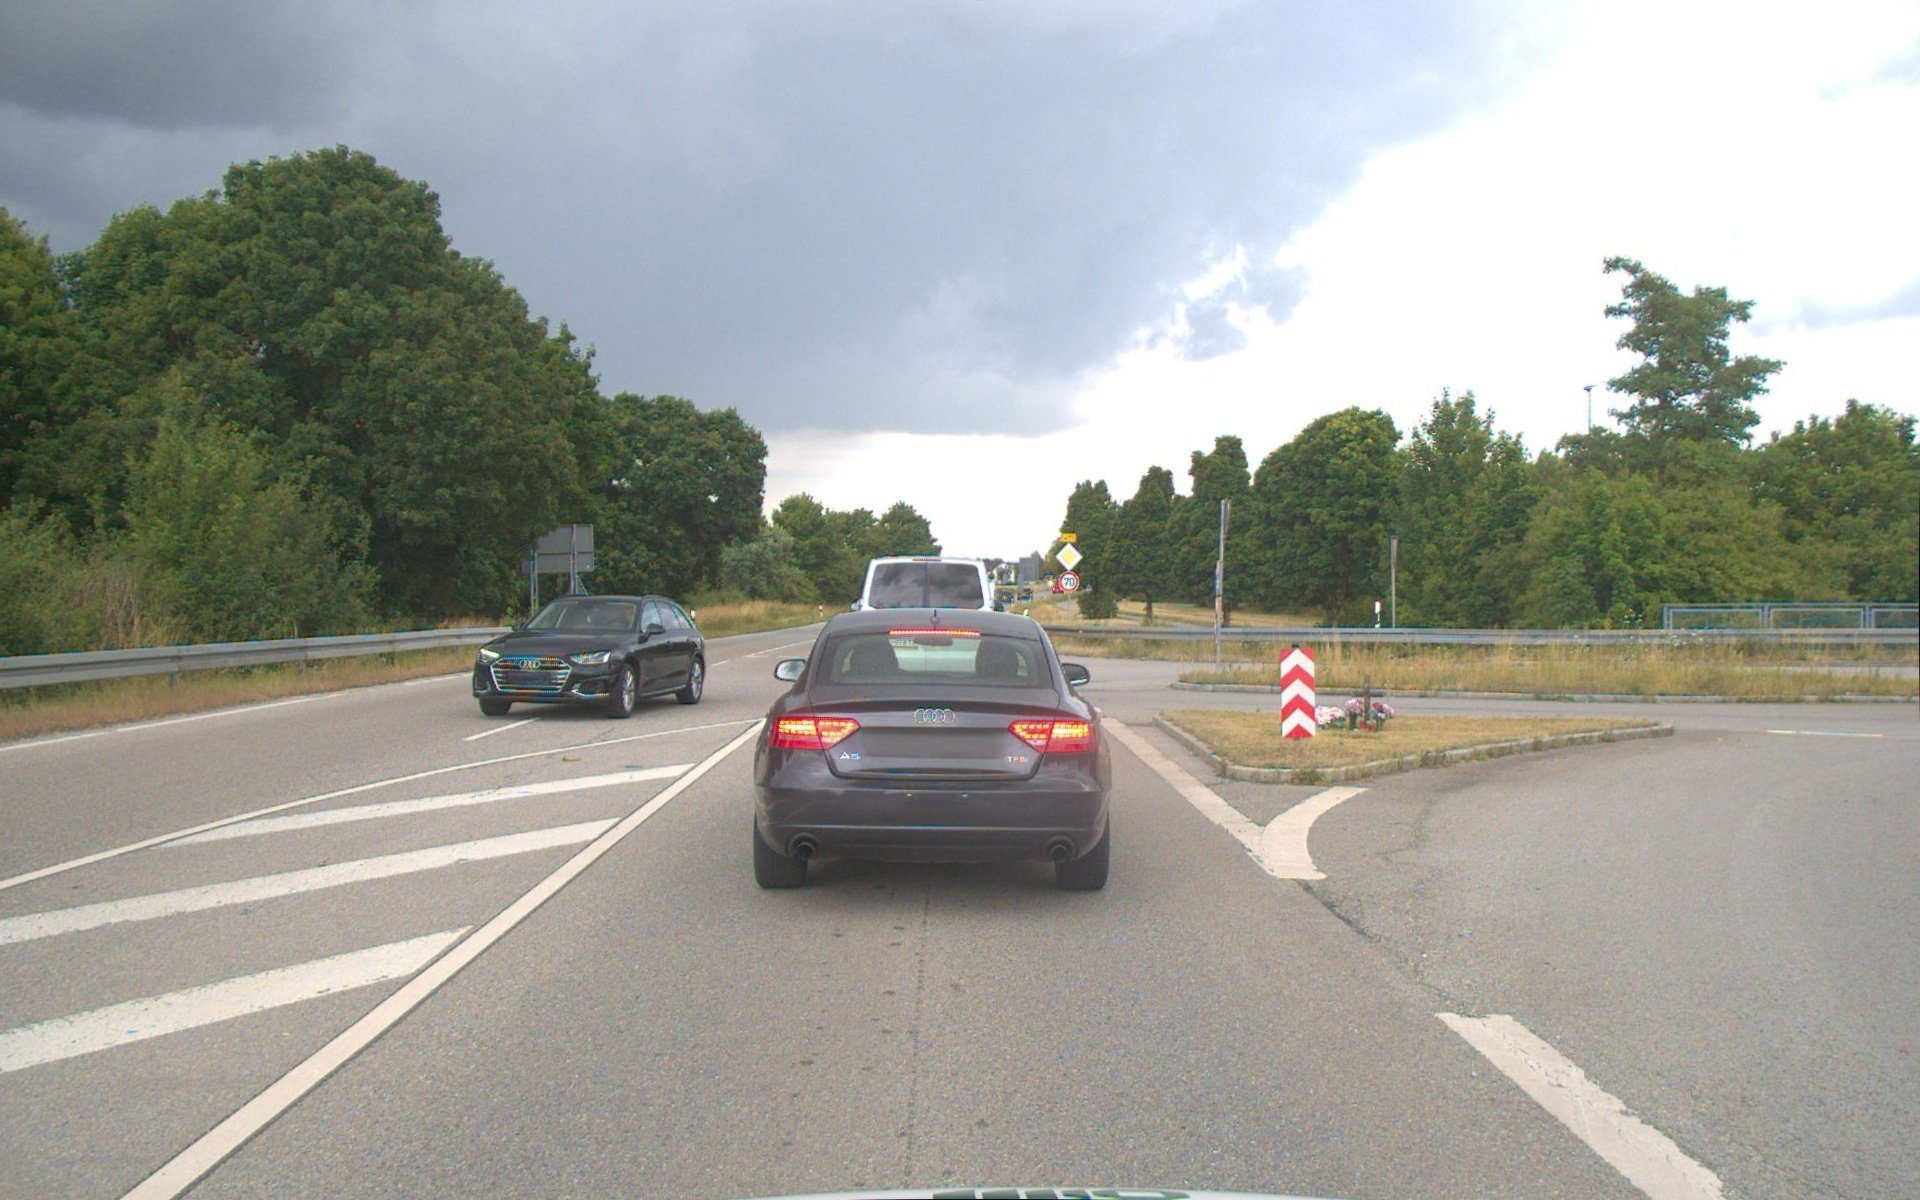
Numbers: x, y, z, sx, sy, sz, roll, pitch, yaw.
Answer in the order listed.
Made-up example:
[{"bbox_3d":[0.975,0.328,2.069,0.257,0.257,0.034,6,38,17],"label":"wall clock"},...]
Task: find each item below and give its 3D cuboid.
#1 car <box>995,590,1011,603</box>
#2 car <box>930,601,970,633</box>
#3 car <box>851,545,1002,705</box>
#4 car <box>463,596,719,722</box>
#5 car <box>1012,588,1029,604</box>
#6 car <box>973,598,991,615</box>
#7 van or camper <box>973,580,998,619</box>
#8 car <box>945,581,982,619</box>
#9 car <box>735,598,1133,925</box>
[{"bbox_3d":[4.859,-0.399,188.419,1.683,1.477,4.000,1,0,0],"label":"car"},{"bbox_3d":[-0.448,0.793,80.074,1.758,1.489,3.249,0,0,3],"label":"car"},{"bbox_3d":[-0.431,0.289,22.014,1.801,1.915,3.999,1,0,-1],"label":"car"},{"bbox_3d":[-4.469,0.656,20.803,1.782,1.398,4.614,0,0,6],"label":"car"},{"bbox_3d":[7.917,-0.584,215.487,1.953,2.049,3.999,0,0,-1],"label":"car"},{"bbox_3d":[1.792,0.493,135.450,1.231,1.377,3.468,0,0,5],"label":"car"},{"bbox_3d":[2.363,-0.016,152.877,2.292,3.542,5.719,0,0,1],"label":"van or camper"},{"bbox_3d":[0.235,-0.004,94.276,1.952,2.125,4.001,0,0,2],"label":"car"},{"bbox_3d":[-0.143,0.717,9.344,1.746,1.400,3.999,1,0,-1],"label":"car"}]
